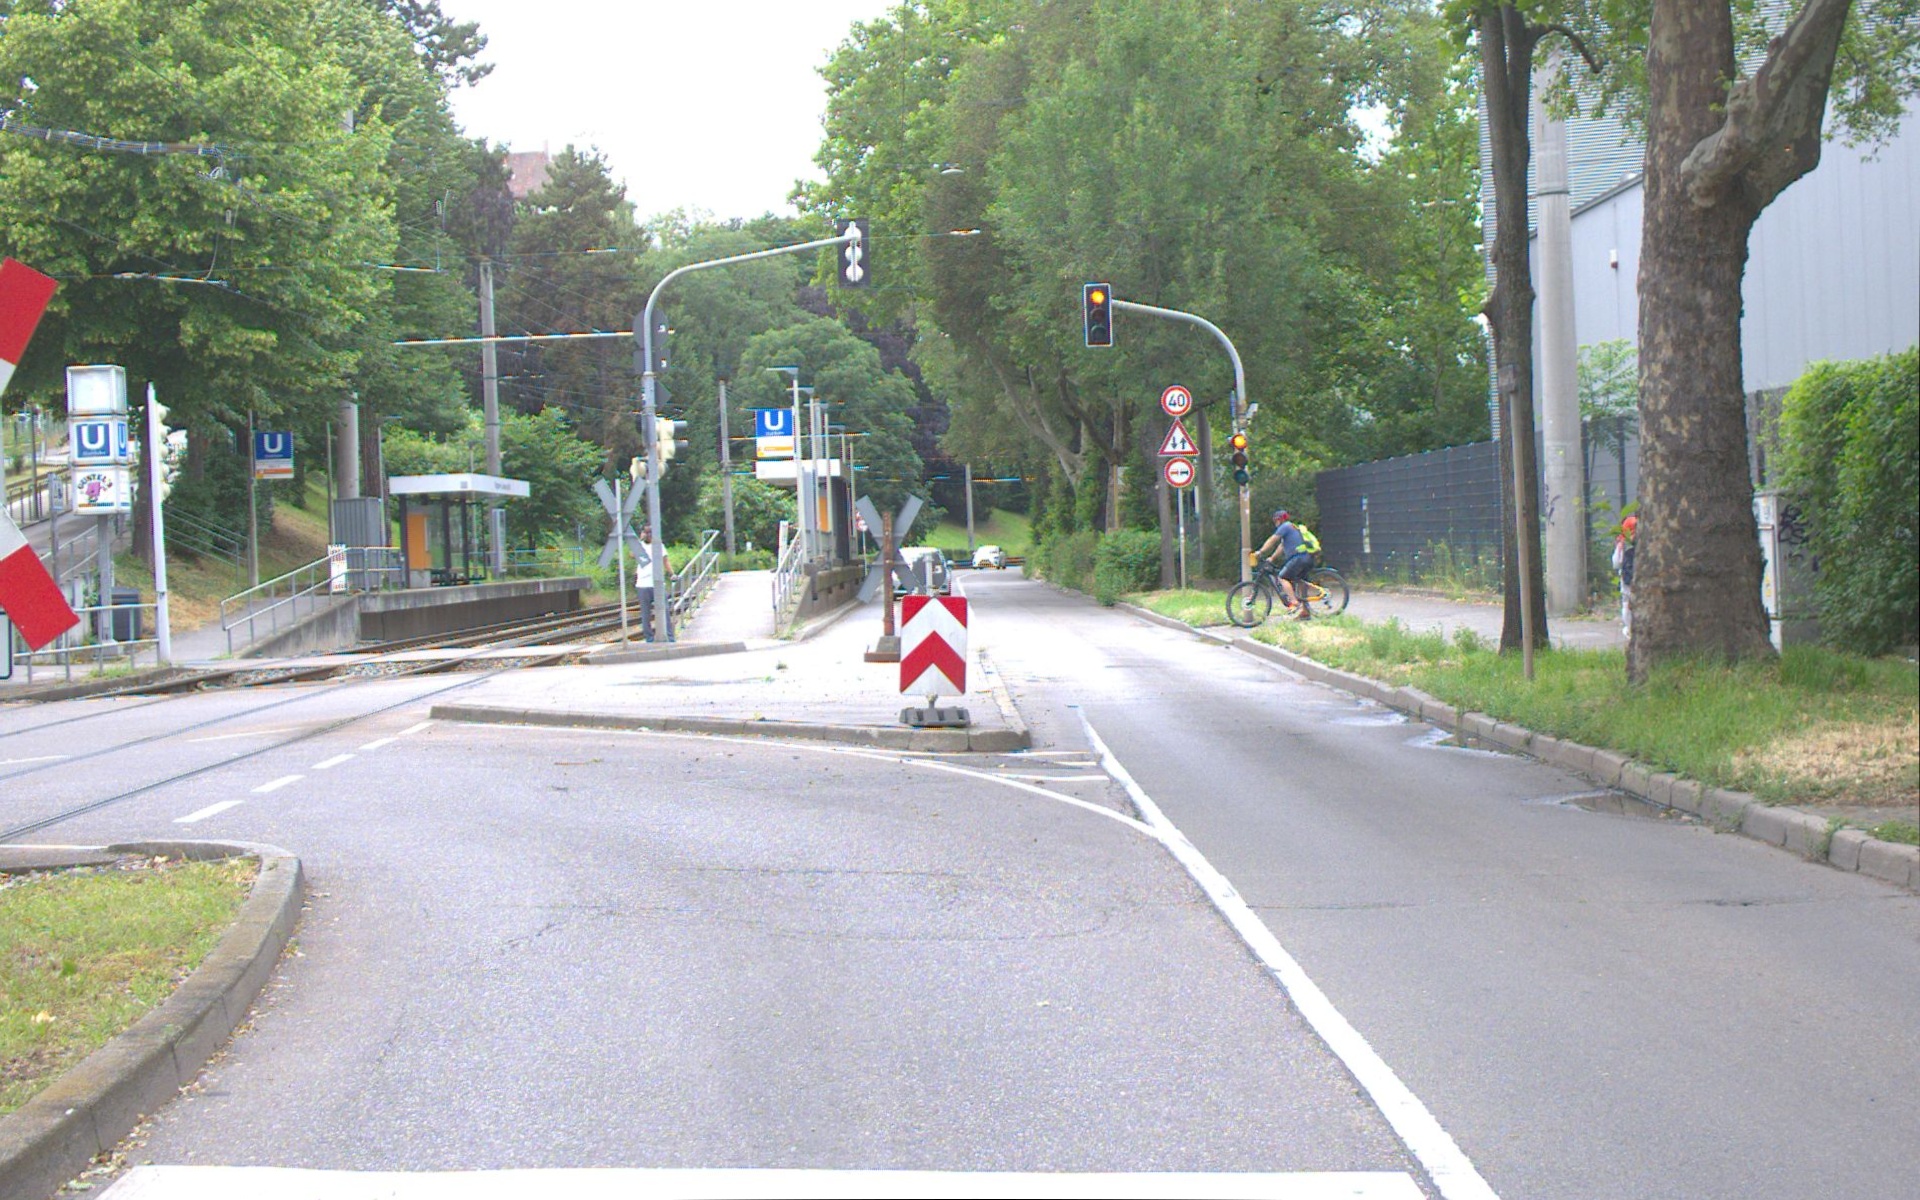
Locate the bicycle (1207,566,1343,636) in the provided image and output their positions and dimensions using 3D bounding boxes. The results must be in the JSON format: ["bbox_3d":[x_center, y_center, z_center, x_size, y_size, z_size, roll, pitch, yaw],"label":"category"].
[{"bbox_3d":[4.939,0.011,53.839,2.075,1.003,0.668,-2,1,6],"label":"bicycle"}]

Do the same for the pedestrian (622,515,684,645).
[{"bbox_3d":[-4.477,-0.295,50.154,0.768,1.846,0.910,-2,1,-9],"label":"pedestrian"}]

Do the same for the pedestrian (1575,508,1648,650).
[{"bbox_3d":[7.277,-0.238,38.410,0.666,1.548,0.934,-2,1,5],"label":"pedestrian"}]

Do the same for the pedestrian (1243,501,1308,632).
[{"bbox_3d":[4.946,-0.521,53.878,0.931,2.007,0.668,-2,1,6],"label":"pedestrian"}]
